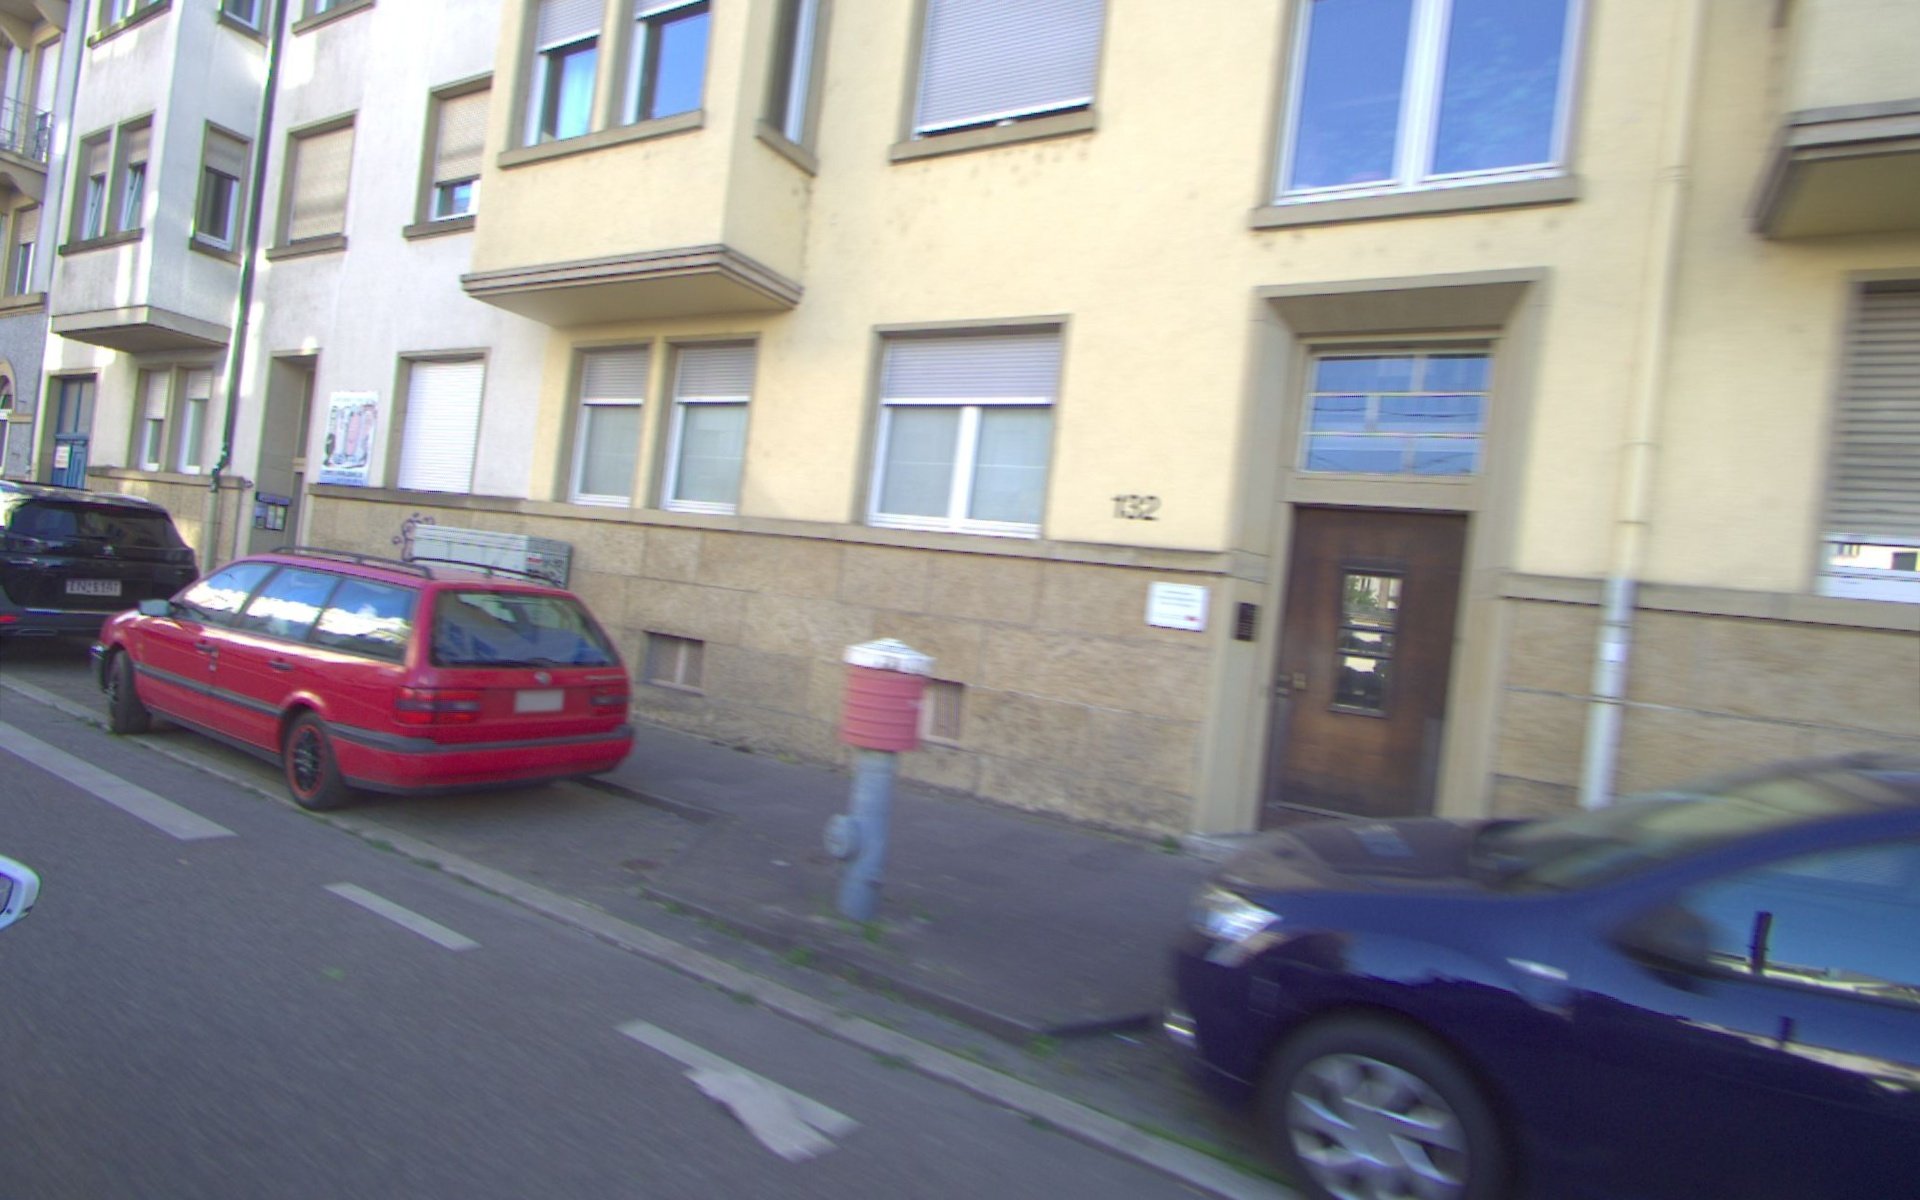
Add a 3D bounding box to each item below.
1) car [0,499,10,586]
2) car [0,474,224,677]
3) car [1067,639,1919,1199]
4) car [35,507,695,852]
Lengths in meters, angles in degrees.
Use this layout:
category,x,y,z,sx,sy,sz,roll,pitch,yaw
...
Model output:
category,x,y,z,sx,sy,sz,roll,pitch,yaw
car,-14.453,-0.834,13.224,3.965,1.459,1.740,7,-1,31
car,-9.667,-0.382,10.284,4.487,1.685,1.861,7,-1,33
car,2.528,1.124,2.920,3.935,1.509,1.720,7,0,32
car,-4.249,0.360,6.968,4.631,1.473,1.862,7,-1,31
